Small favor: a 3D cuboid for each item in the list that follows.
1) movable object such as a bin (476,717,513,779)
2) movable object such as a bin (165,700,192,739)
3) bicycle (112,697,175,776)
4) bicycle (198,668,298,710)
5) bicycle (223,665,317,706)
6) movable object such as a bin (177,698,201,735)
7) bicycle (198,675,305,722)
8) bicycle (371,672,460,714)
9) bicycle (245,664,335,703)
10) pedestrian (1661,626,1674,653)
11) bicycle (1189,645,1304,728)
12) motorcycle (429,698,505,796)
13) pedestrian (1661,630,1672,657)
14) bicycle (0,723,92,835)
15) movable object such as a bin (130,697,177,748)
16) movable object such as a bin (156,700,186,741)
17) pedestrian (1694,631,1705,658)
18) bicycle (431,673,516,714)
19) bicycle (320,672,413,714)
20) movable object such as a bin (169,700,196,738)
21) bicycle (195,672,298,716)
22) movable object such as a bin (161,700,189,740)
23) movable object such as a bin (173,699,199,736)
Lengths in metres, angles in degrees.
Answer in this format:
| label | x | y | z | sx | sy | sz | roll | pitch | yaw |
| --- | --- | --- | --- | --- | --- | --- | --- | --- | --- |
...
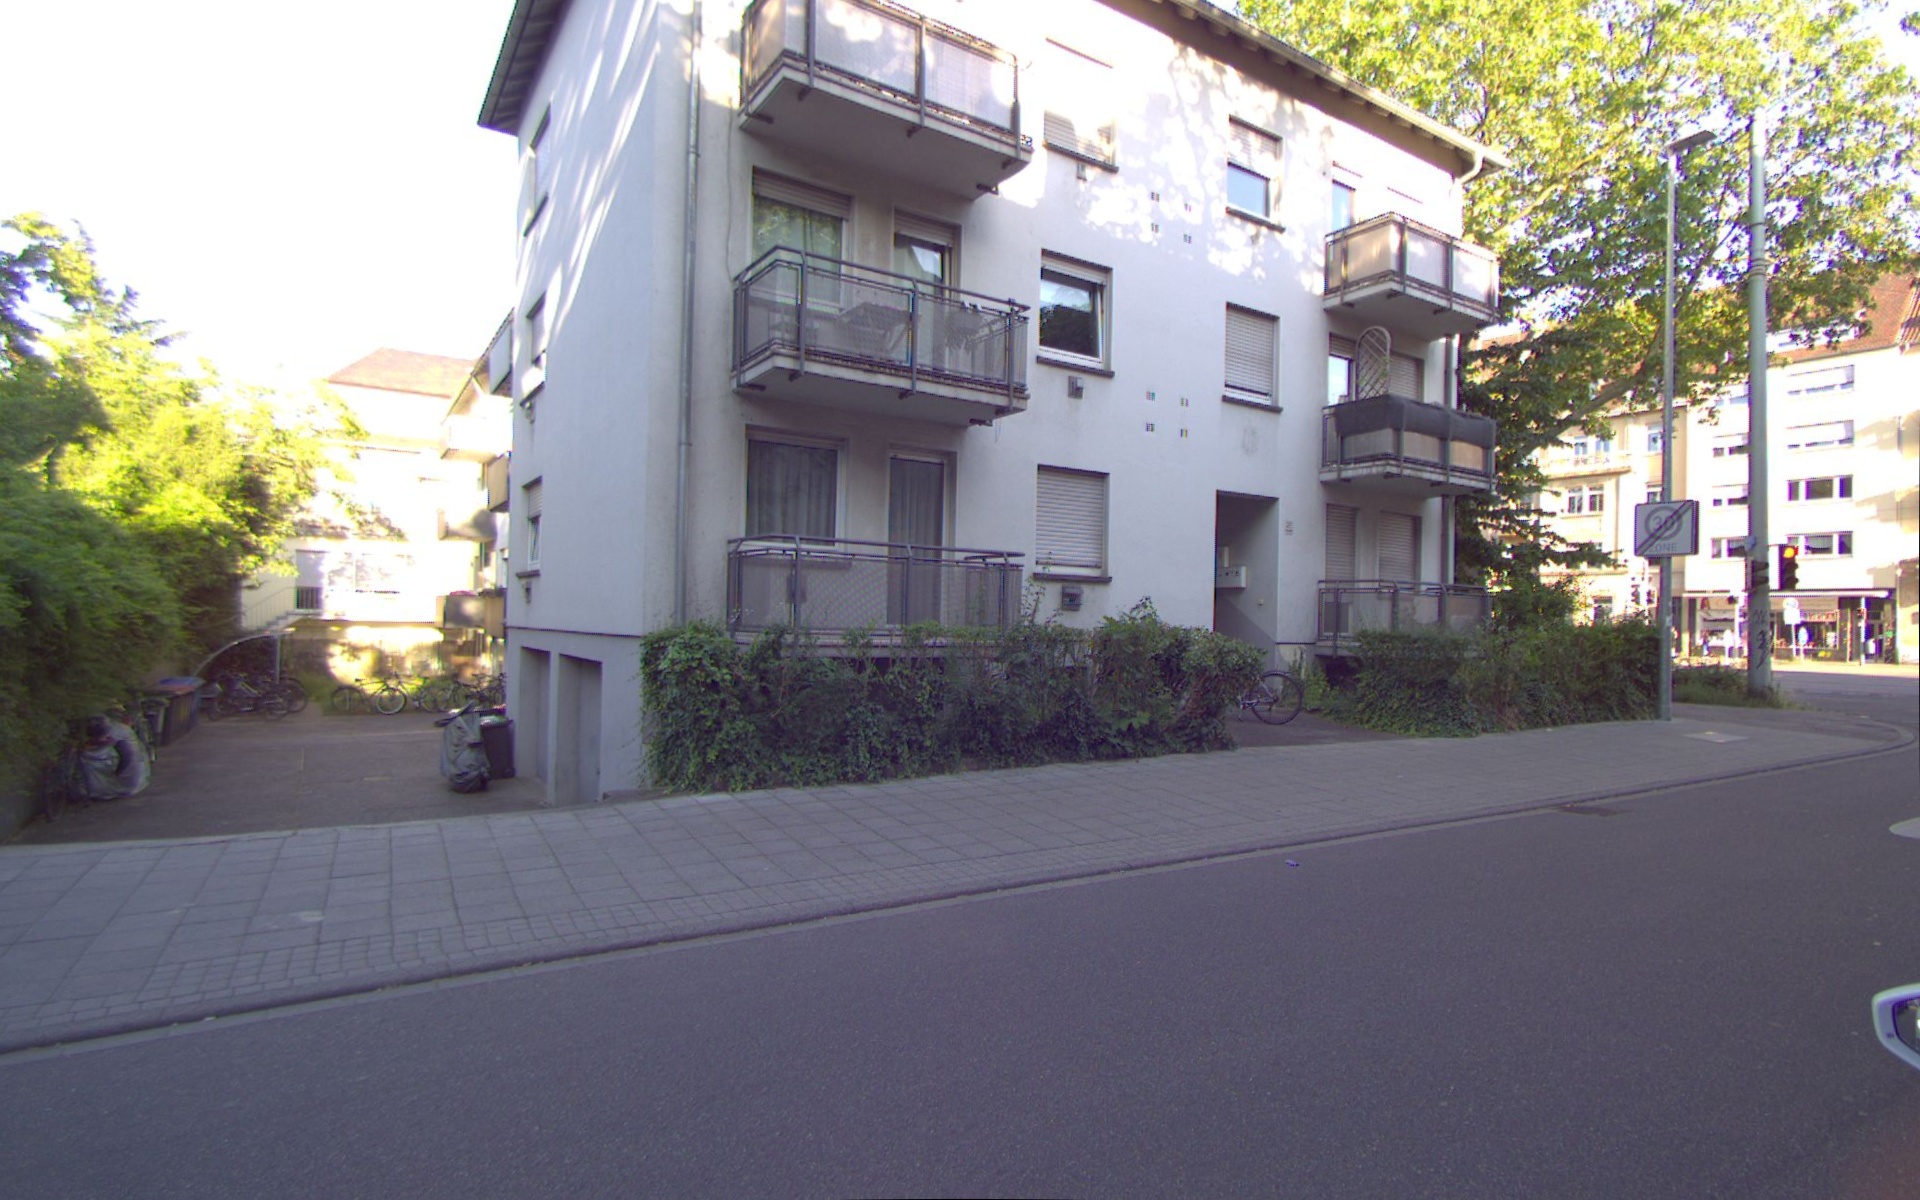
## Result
| label | x | y | z | sx | sy | sz | roll | pitch | yaw |
| --- | --- | --- | --- | --- | --- | --- | --- | --- | --- |
| movable object such as a bin | -7.500 | 2.367 | 16.185 | 0.428 | 0.899 | 0.720 | 1 | -2 | -34 |
| movable object such as a bin | -16.011 | 2.446 | 20.580 | 0.371 | 0.768 | 0.361 | 2 | -4 | -30 |
| bicycle | -13.220 | 2.178 | 16.296 | 0.509 | 1.033 | 1.922 | 3 | -1 | -32 |
| bicycle | -18.859 | 2.371 | 26.658 | 2.045 | 1.034 | 0.611 | 4 | 0 | -30 |
| bicycle | -18.994 | 2.372 | 27.695 | 2.045 | 1.034 | 0.611 | 4 | 0 | -30 |
| movable object such as a bin | -16.602 | 2.510 | 21.623 | 0.342 | 0.768 | 0.361 | 2 | -4 | -30 |
| bicycle | -17.275 | 2.407 | 24.553 | 2.045 | 1.034 | 0.637 | 4 | 0 | -30 |
| bicycle | -14.737 | 2.526 | 27.197 | 2.045 | 1.034 | 0.637 | 4 | 0 | -30 |
| bicycle | -19.017 | 2.376 | 28.567 | 2.045 | 1.034 | 0.564 | 4 | 0 | -30 |
| pedestrian | 40.706 | 2.264 | 57.755 | 0.558 | 1.531 | 0.499 | 0 | -1 | 41 |
| bicycle | 3.883 | 1.155 | 13.616 | 1.433 | 0.988 | 0.407 | 3 | 0 | 21 |
| motorcycle | -7.392 | 2.160 | 15.031 | 0.751 | 1.268 | 1.578 | 1 | -2 | -36 |
| pedestrian | 41.101 | 2.514 | 58.441 | 0.501 | 1.531 | 0.535 | 0 | -1 | 33 |
| bicycle | -10.999 | 2.099 | 12.068 | 0.509 | 1.033 | 1.922 | 3 | -1 | -32 |
| movable object such as a bin | -14.950 | 2.261 | 18.624 | 0.570 | 0.891 | 0.491 | 2 | -4 | -30 |
| movable object such as a bin | -15.633 | 2.389 | 19.904 | 0.393 | 0.784 | 0.361 | 2 | -4 | -30 |
| pedestrian | 42.036 | 2.518 | 57.075 | 0.467 | 1.531 | 0.429 | 0 | -1 | 41 |
| bicycle | -13.501 | 2.602 | 27.921 | 2.045 | 1.034 | 0.637 | 4 | 0 | -30 |
| bicycle | -15.699 | 2.465 | 26.630 | 2.045 | 1.034 | 0.637 | 4 | 0 | -30 |
| movable object such as a bin | -16.208 | 2.469 | 20.947 | 0.362 | 0.768 | 0.361 | 2 | -4 | -30 |
| bicycle | -18.026 | 2.389 | 25.432 | 2.045 | 1.034 | 0.568 | 4 | 0 | -30 |
| movable object such as a bin | -15.817 | 2.410 | 20.245 | 0.377 | 0.784 | 0.361 | 2 | -4 | -30 |
| movable object such as a bin | -16.402 | 2.483 | 21.288 | 0.362 | 0.768 | 0.361 | 2 | -4 | -30 |
